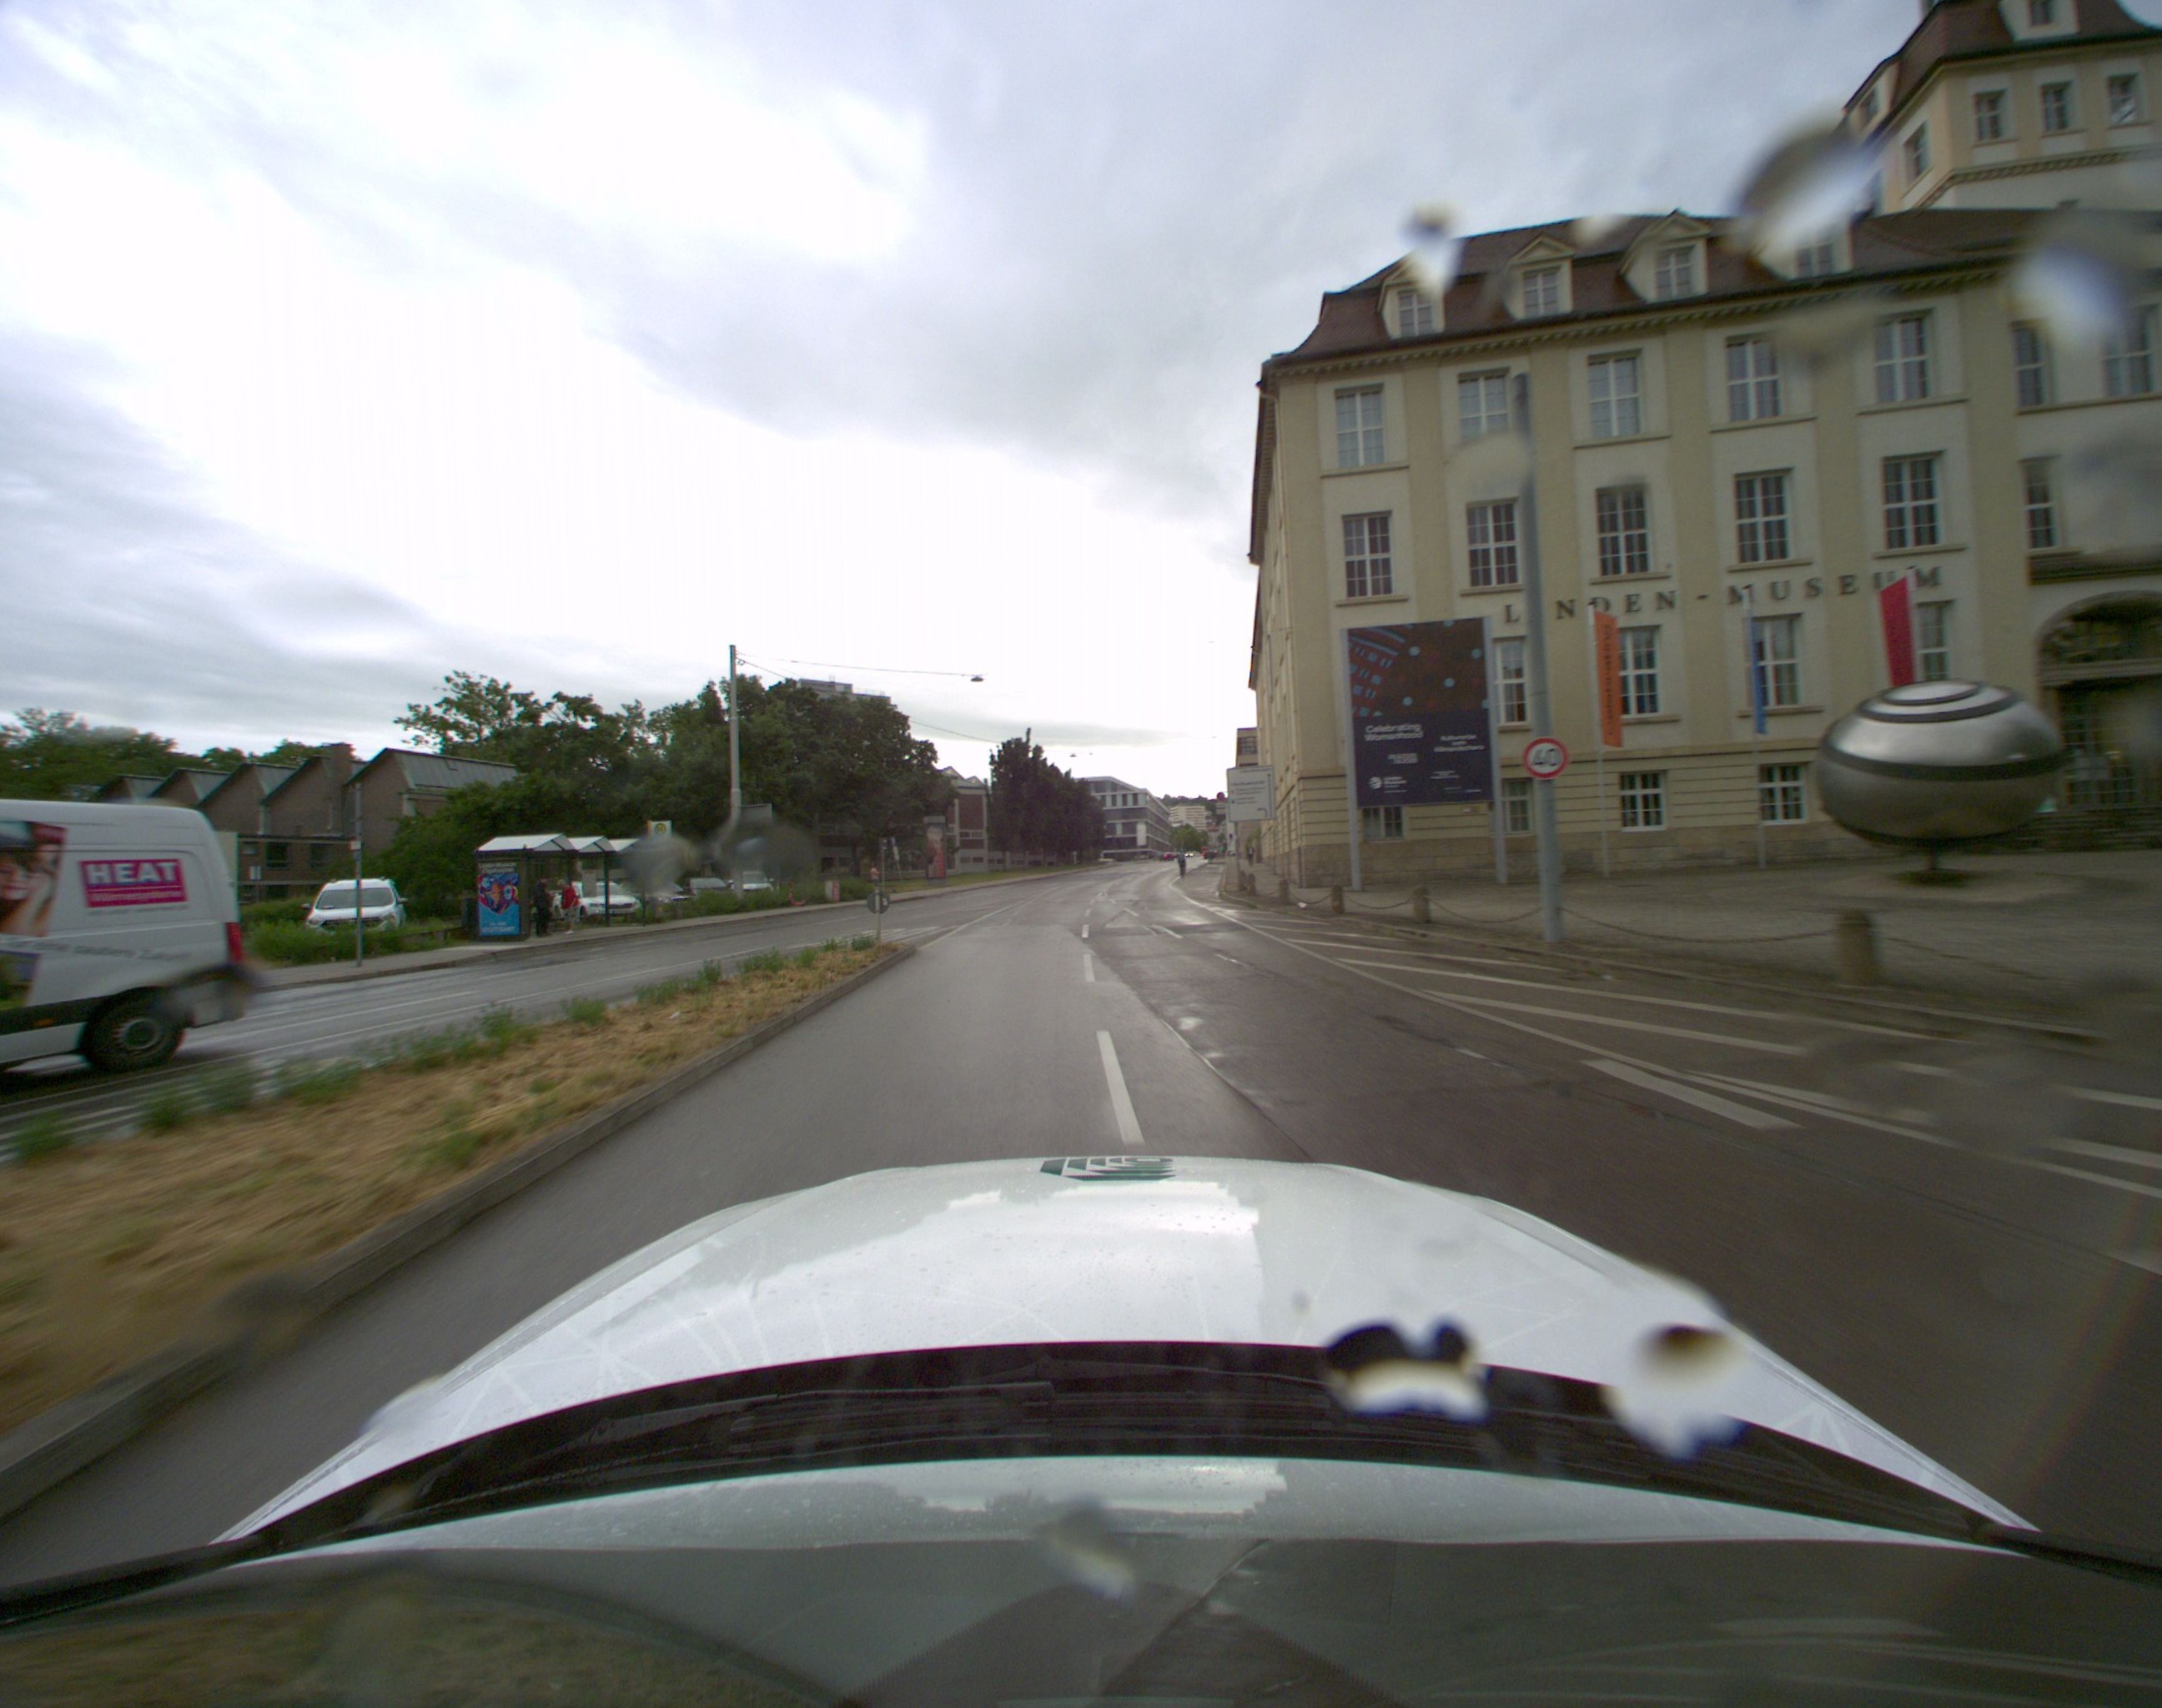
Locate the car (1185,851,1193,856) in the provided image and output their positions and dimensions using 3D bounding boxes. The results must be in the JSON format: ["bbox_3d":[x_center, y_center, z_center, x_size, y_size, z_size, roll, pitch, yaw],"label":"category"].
[{"bbox_3d":[31.679,-0.173,239.122,1.826,1.353,3.429,-1,2,14],"label":"car"}]

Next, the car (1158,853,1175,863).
[{"bbox_3d":[14.919,0.661,141.463,1.894,1.625,3.631,-2,2,-12],"label":"car"}]

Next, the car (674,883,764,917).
[{"bbox_3d":[-14.997,1.865,33.677,3.454,1.220,1.845,-1,0,34],"label":"car"}]

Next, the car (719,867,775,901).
[{"bbox_3d":[-15.439,1.345,37.578,1.860,1.442,4.036,-2,0,-30],"label":"car"}]

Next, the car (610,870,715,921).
[{"bbox_3d":[-15.922,1.515,30.908,3.948,1.768,1.846,-1,0,34],"label":"car"}]

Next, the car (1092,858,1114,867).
[{"bbox_3d":[5.411,2.039,201.979,5.196,2.013,2.005,-1,0,9],"label":"car"}]

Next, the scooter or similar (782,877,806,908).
[{"bbox_3d":[-12.371,1.667,35.149,0.454,1.266,0.981,-1,0,15],"label":"scooter or similar"}]

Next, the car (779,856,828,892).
[{"bbox_3d":[-14.464,1.055,42.617,1.849,1.742,4.059,-2,-1,-11],"label":"car"}]

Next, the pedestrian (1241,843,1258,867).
[{"bbox_3d":[13.778,0.075,66.593,1.231,1.788,1.601,-5,-1,13],"label":"pedestrian"}]

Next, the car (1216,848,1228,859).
[{"bbox_3d":[23.652,-0.117,136.177,1.827,1.559,4.013,-1,2,11],"label":"car"}]

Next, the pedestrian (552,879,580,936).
[{"bbox_3d":[-14.743,1.521,23.323,0.614,1.595,0.505,-1,0,-27],"label":"pedestrian"}]

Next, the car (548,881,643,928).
[{"bbox_3d":[-17.008,1.708,28.455,3.950,1.415,1.845,-1,0,43],"label":"car"}]

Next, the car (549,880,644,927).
[{"bbox_3d":[-17.030,1.730,28.544,4.024,1.442,1.865,-4,-2,44],"label":"car"}]

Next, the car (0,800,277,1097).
[{"bbox_3d":[-10.265,0.851,6.005,2.047,2.494,6.052,-4,-1,8],"label":"car"}]

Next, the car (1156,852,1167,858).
[{"bbox_3d":[18.458,0.193,186.503,1.826,1.235,3.429,-1,2,14],"label":"car"}]

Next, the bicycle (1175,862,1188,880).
[{"bbox_3d":[6.096,1.009,49.260,0.642,1.056,1.826,-2,-1,11],"label":"bicycle"}]

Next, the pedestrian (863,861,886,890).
[{"bbox_3d":[-11.722,1.220,46.237,0.798,1.571,0.962,-1,0,20],"label":"pedestrian"}]

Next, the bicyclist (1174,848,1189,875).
[{"bbox_3d":[6.083,0.459,49.242,0.695,1.632,1.132,-1,0,13],"label":"bicyclist"}]

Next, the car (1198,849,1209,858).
[{"bbox_3d":[23.674,-0.104,157.250,1.827,1.559,4.013,-1,2,11],"label":"car"}]

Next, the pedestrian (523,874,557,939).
[{"bbox_3d":[-14.896,1.440,22.437,0.455,1.744,0.666,-1,0,0],"label":"pedestrian"}]

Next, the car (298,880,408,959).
[{"bbox_3d":[-18.809,1.630,21.214,1.843,1.768,4.454,-1,-2,-38],"label":"car"}]
